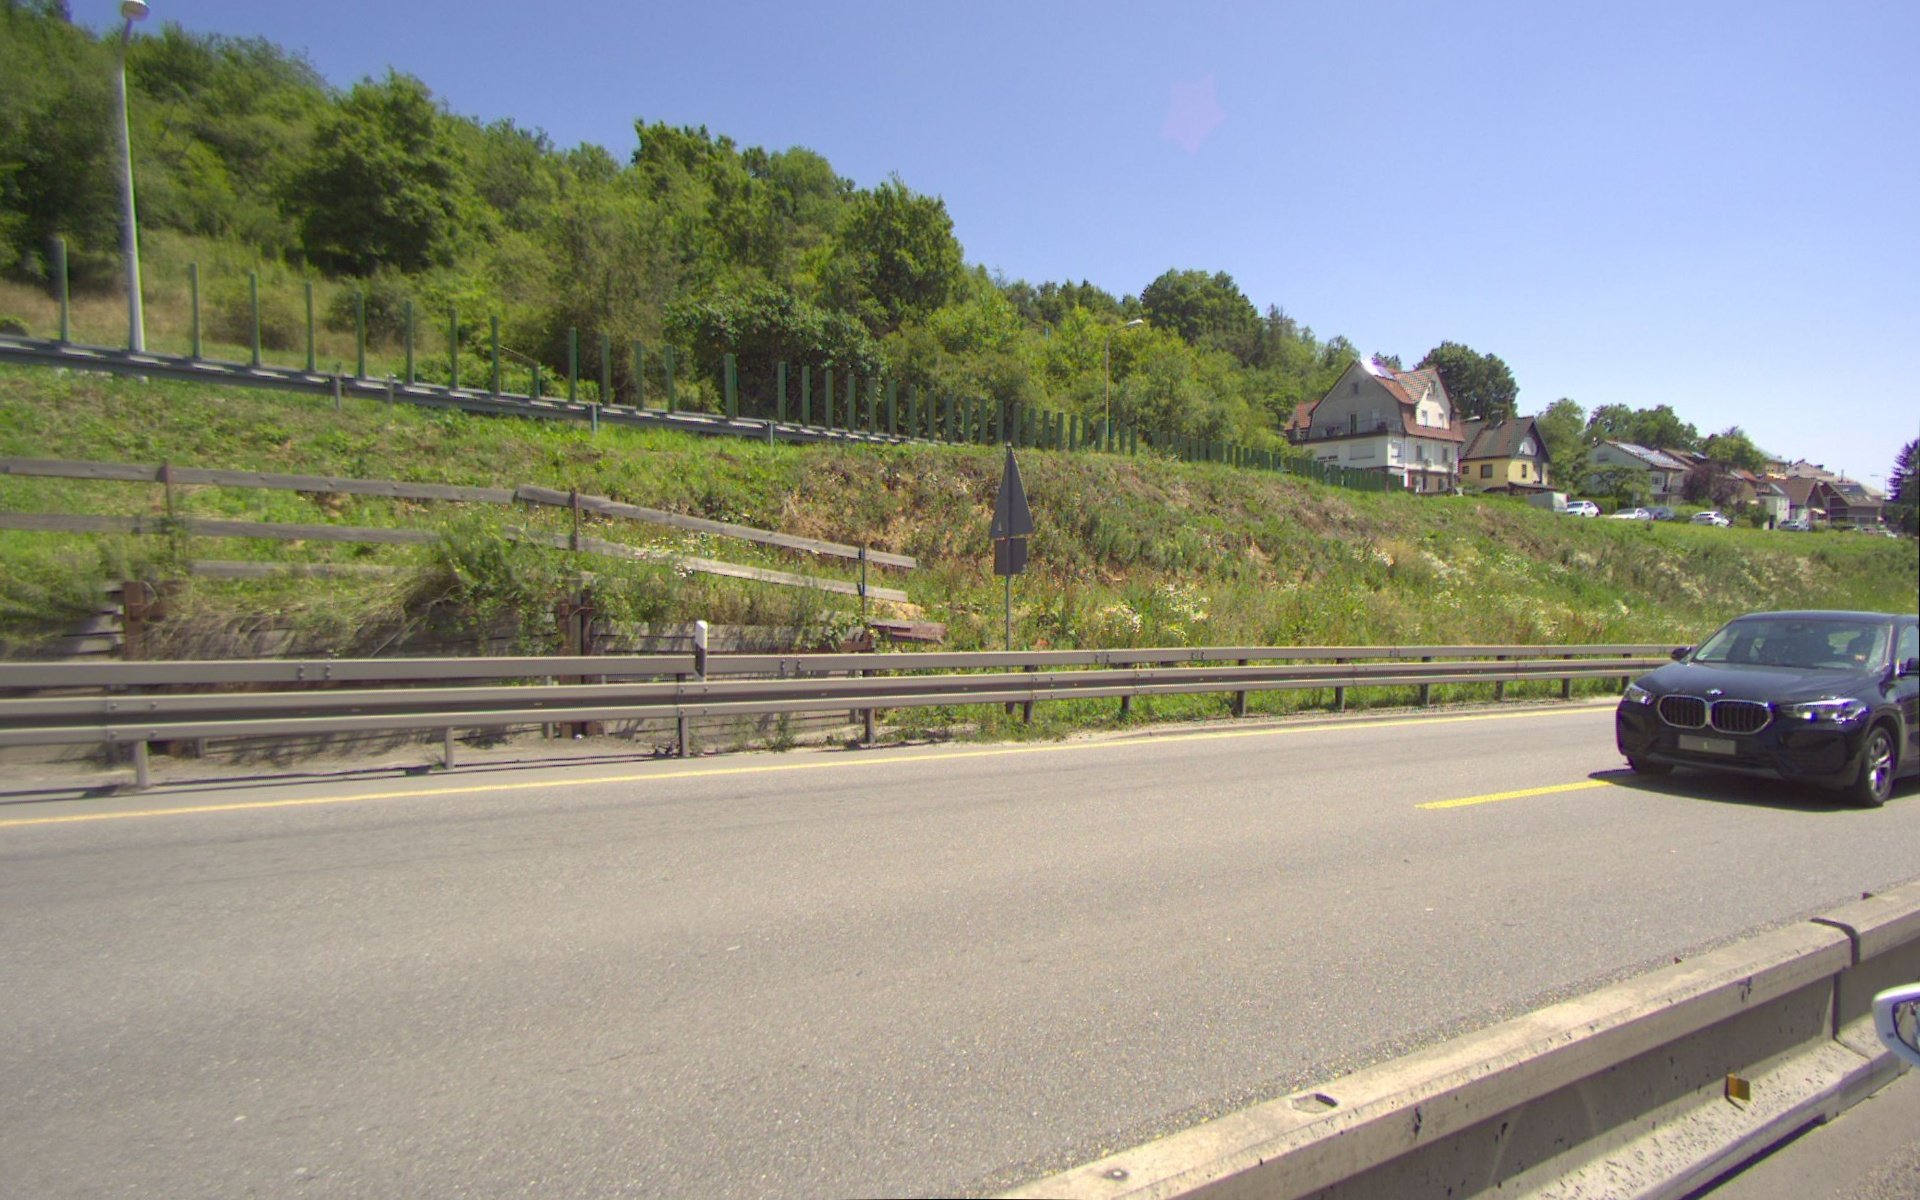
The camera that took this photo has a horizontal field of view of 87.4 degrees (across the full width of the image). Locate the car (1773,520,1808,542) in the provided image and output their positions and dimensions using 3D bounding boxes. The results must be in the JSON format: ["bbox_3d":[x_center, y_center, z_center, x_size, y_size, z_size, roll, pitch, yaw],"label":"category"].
[{"bbox_3d":[79.044,-6.554,95.597,3.969,1.751,1.908,1,0,-41],"label":"car"}]

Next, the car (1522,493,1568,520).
[{"bbox_3d":[37.899,-6.036,65.049,1.709,1.417,3.779,4,2,43],"label":"car"}]

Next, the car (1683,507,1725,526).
[{"bbox_3d":[62.704,-7.035,84.651,3.970,1.337,1.975,1,4,-42],"label":"car"}]

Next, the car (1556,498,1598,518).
[{"bbox_3d":[41.559,-6.165,67.649,3.244,1.052,1.271,1,0,-37],"label":"car"}]

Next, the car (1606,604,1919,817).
[{"bbox_3d":[7.992,0.870,9.382,4.057,1.582,1.691,1,0,-32],"label":"car"}]
